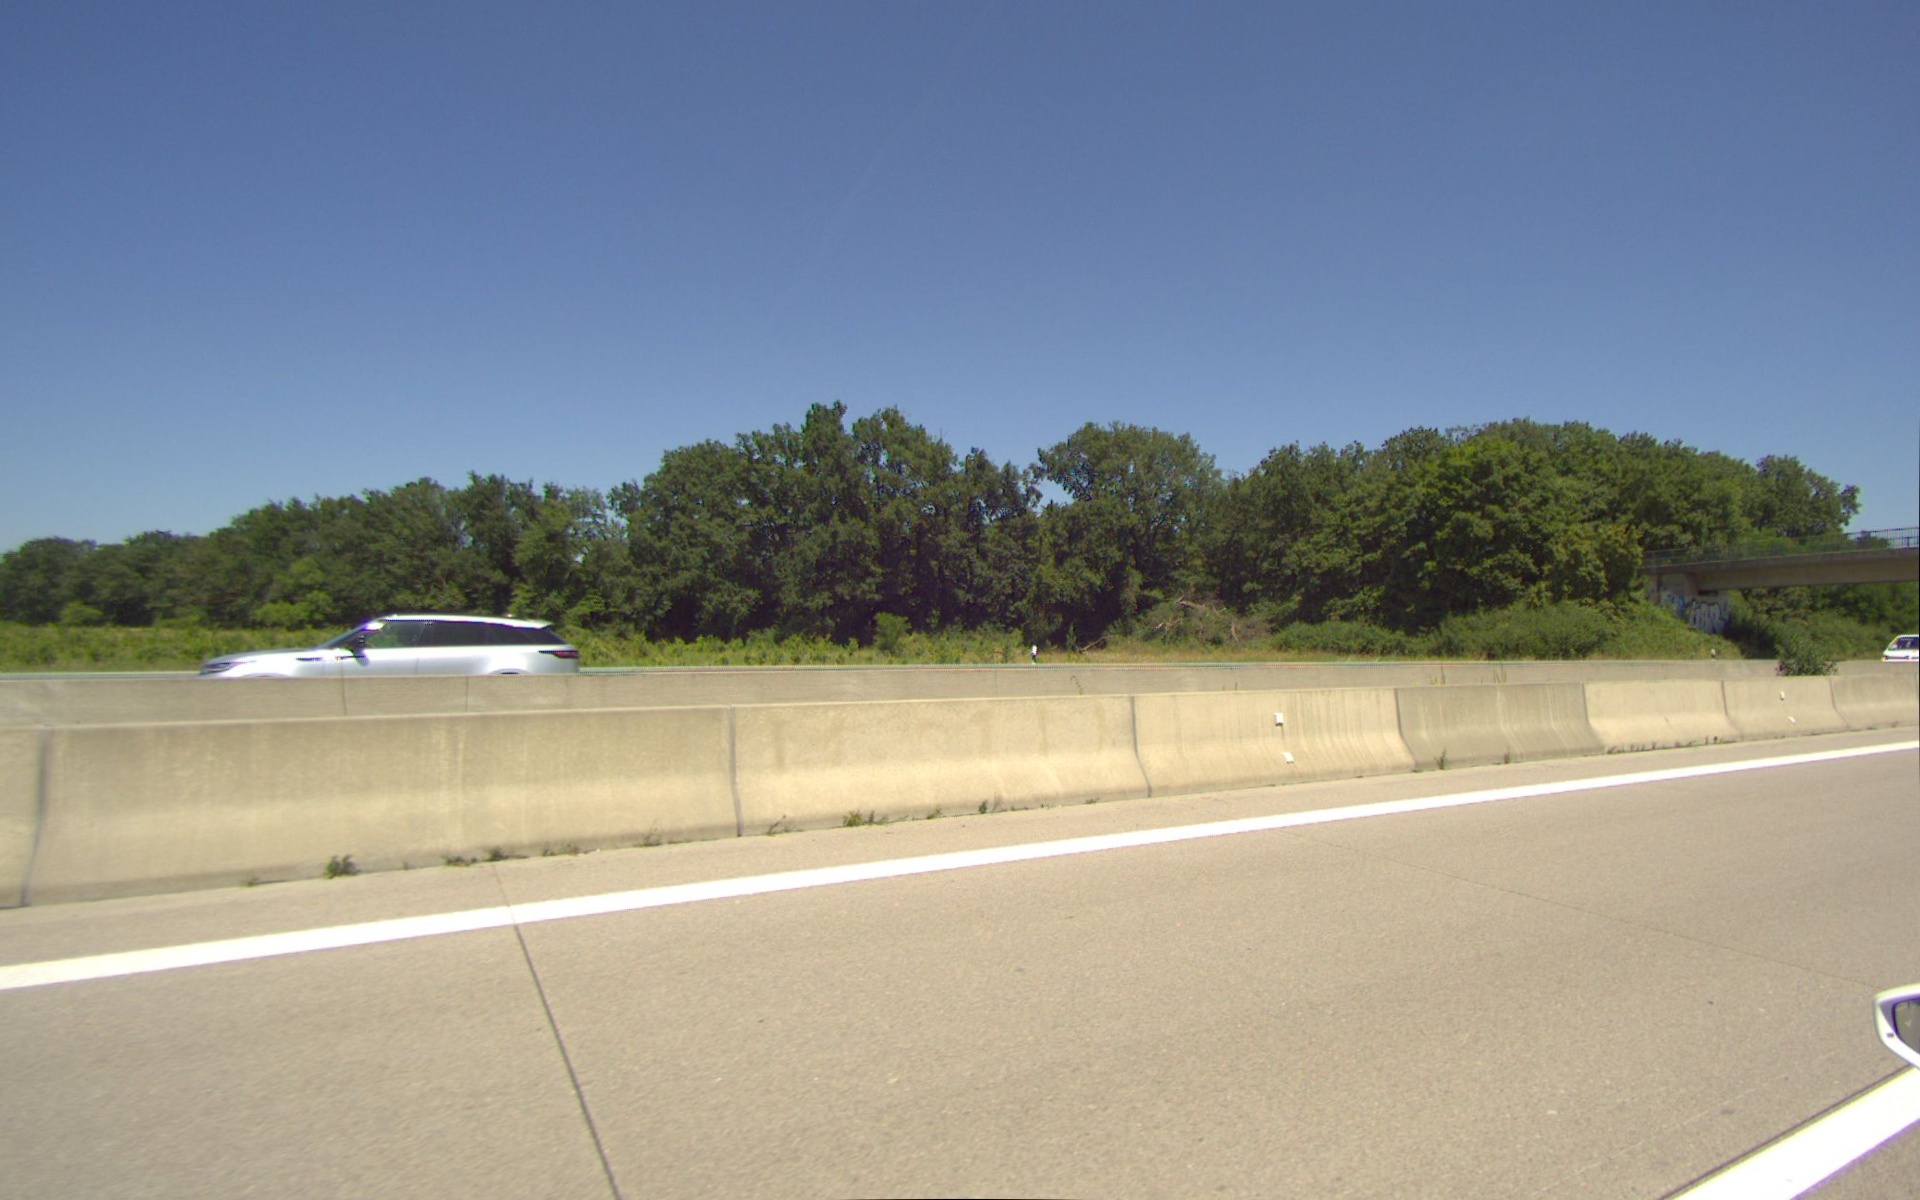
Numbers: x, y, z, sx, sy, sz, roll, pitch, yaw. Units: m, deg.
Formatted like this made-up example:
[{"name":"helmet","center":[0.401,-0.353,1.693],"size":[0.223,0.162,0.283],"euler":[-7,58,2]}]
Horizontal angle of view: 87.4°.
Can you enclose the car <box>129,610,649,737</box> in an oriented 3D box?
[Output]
[{"name":"car","center":[-7.799,0.976,14.438],"size":[6.064,1.516,2.056],"euler":[2,-2,-31]}]

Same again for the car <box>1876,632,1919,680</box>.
[{"name":"car","center":[37.688,2.162,38.818],"size":[5.725,1.741,1.817],"euler":[2,-1,-31]}]
